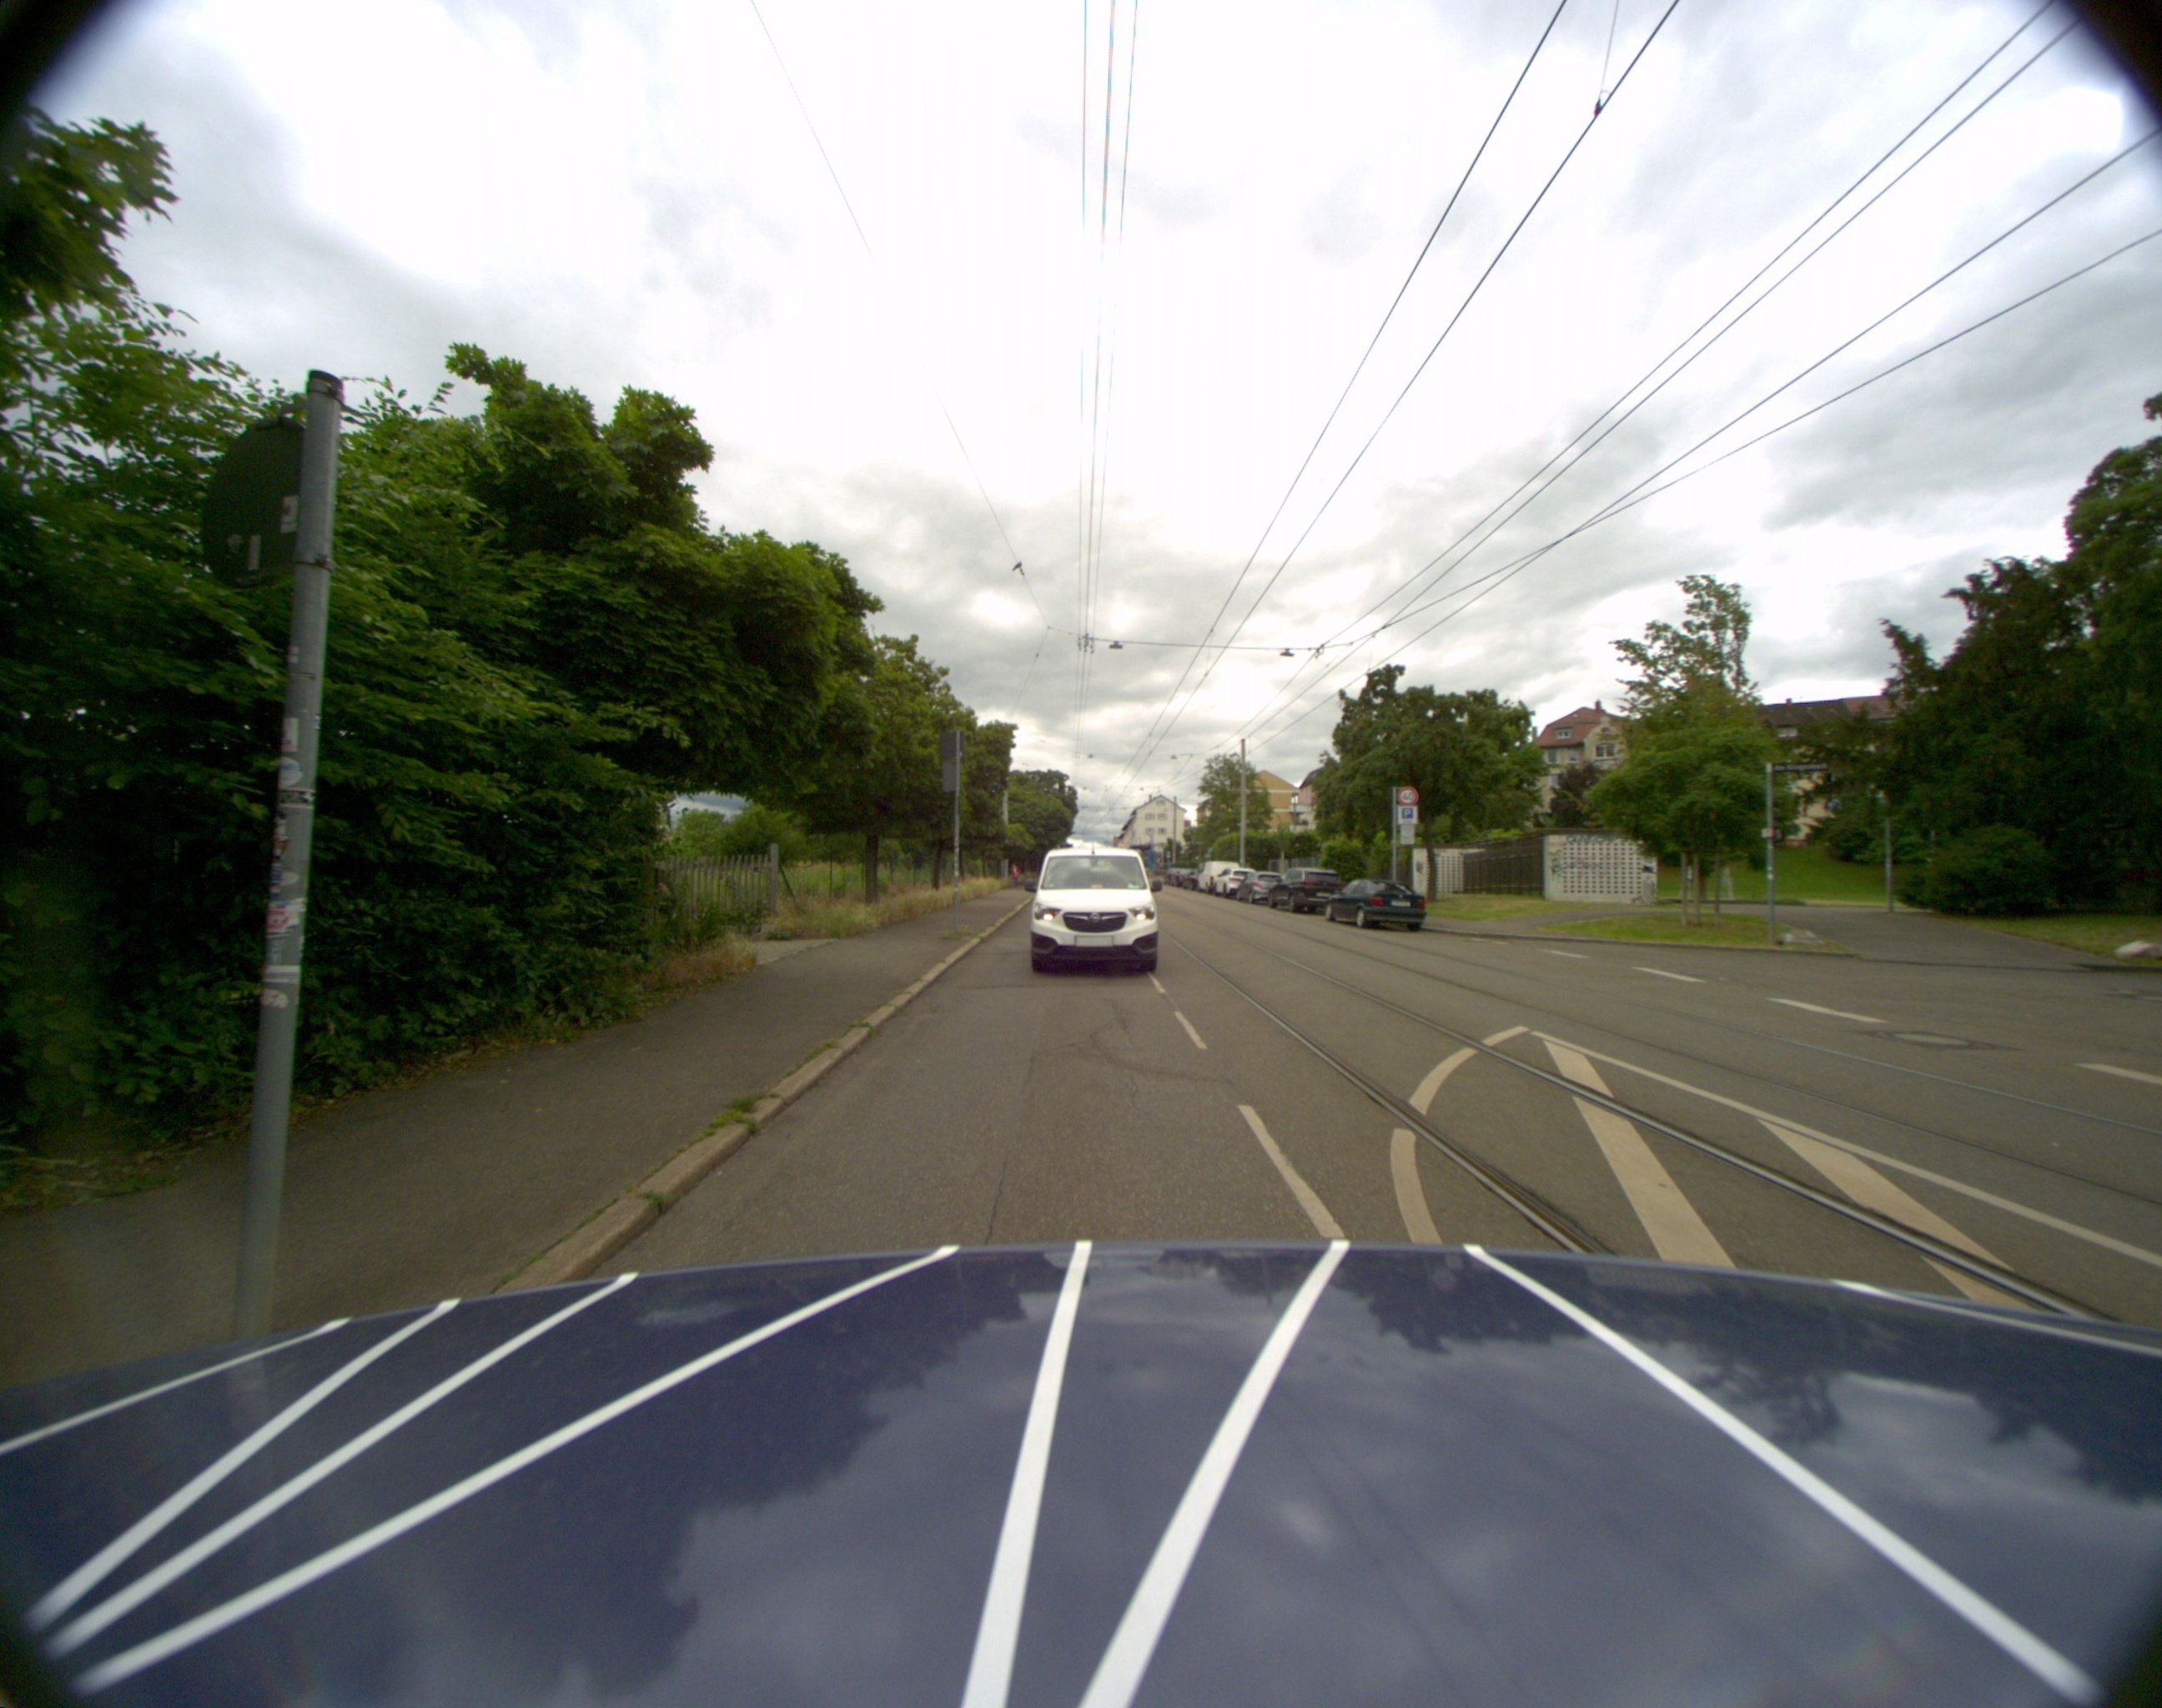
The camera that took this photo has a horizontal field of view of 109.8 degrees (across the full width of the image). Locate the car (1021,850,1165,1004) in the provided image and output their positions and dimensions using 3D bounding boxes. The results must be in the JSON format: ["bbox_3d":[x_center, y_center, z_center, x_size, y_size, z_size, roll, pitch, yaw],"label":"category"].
[{"bbox_3d":[0.172,0.894,11.439,1.730,1.850,4.421,1,0,1],"label":"car"}]

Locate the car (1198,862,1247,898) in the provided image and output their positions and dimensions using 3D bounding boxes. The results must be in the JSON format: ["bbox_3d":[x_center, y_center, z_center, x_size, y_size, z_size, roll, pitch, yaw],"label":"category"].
[{"bbox_3d":[8.530,1.548,46.174,1.974,1.902,4.733,2,1,-1],"label":"car"}]

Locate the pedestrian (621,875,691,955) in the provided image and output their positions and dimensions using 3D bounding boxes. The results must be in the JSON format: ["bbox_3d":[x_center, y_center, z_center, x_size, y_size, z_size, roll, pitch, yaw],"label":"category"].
[{"bbox_3d":[-7.308,1.028,13.089,0.747,1.301,0.808,1,1,1],"label":"pedestrian"}]

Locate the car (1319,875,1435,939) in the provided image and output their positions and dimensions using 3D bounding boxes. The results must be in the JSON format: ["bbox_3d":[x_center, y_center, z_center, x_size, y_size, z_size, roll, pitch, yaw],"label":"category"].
[{"bbox_3d":[8.483,1.464,22.167,1.625,1.469,4.155,2,1,-1],"label":"car"}]

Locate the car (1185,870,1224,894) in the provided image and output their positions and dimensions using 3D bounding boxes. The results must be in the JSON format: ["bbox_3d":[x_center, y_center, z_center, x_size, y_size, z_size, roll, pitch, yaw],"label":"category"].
[{"bbox_3d":[8.340,1.860,51.672,1.845,1.379,4.516,2,1,-1],"label":"car"}]

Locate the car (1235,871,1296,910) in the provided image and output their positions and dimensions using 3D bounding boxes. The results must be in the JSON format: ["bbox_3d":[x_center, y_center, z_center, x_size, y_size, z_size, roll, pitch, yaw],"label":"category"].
[{"bbox_3d":[8.382,1.611,34.804,1.743,1.500,3.868,2,1,-1],"label":"car"}]

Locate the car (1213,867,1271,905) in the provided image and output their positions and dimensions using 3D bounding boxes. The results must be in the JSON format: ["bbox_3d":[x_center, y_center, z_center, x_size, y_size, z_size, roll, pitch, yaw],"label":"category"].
[{"bbox_3d":[8.459,1.640,40.298,1.974,1.677,4.632,2,1,-1],"label":"car"}]

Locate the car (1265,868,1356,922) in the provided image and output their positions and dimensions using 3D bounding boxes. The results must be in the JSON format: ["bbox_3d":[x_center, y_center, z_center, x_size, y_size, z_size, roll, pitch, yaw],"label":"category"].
[{"bbox_3d":[8.528,1.462,28.665,1.974,1.677,4.443,2,1,-1],"label":"car"}]

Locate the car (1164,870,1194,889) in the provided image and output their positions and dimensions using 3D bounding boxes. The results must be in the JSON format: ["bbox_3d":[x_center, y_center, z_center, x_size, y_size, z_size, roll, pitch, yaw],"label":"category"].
[{"bbox_3d":[8.172,2.114,63.656,1.794,1.396,4.160,2,1,-1],"label":"car"}]

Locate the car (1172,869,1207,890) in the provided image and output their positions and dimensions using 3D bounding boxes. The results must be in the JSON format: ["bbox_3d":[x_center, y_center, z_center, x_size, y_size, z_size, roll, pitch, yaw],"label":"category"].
[{"bbox_3d":[8.257,1.906,58.125,1.845,1.379,4.439,2,1,-1],"label":"car"}]

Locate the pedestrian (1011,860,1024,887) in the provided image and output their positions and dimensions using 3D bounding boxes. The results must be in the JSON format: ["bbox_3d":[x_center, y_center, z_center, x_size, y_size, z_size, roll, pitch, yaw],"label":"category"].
[{"bbox_3d":[-3.774,1.160,45.117,0.716,1.611,0.718,1,1,0],"label":"pedestrian"}]

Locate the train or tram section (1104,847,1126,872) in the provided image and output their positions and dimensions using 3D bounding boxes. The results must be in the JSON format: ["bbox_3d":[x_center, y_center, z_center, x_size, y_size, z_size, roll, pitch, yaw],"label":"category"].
[{"bbox_3d":[5.275,0.818,119.169,2.857,3.615,12.128,1,0,0],"label":"train or tram section"}]
